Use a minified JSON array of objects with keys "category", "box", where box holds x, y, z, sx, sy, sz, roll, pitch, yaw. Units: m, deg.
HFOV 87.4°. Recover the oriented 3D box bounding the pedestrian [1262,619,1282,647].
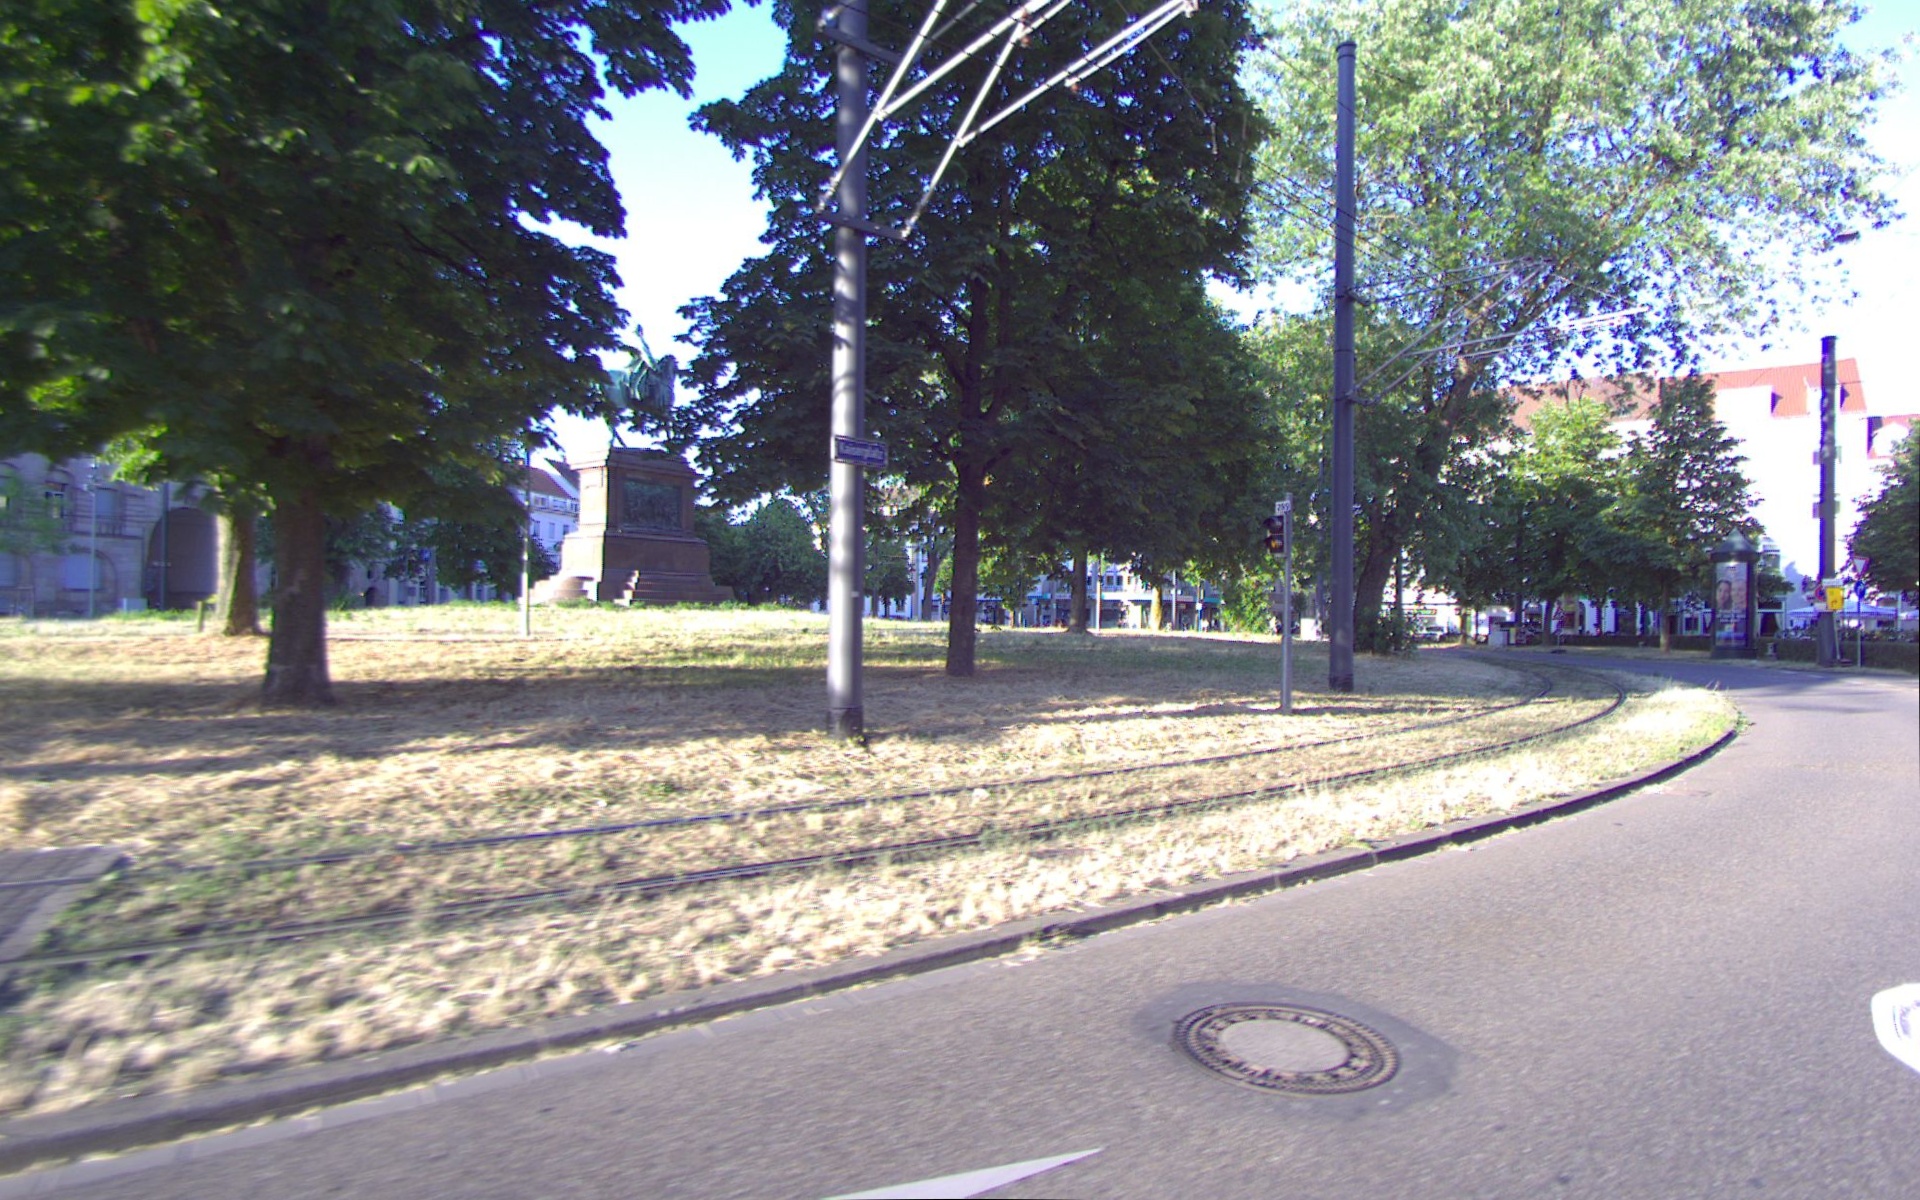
[{"category":"pedestrian","box":[21.463,2.248,69.093,0.984,1.865,0.857,-1,2,-30]}]
